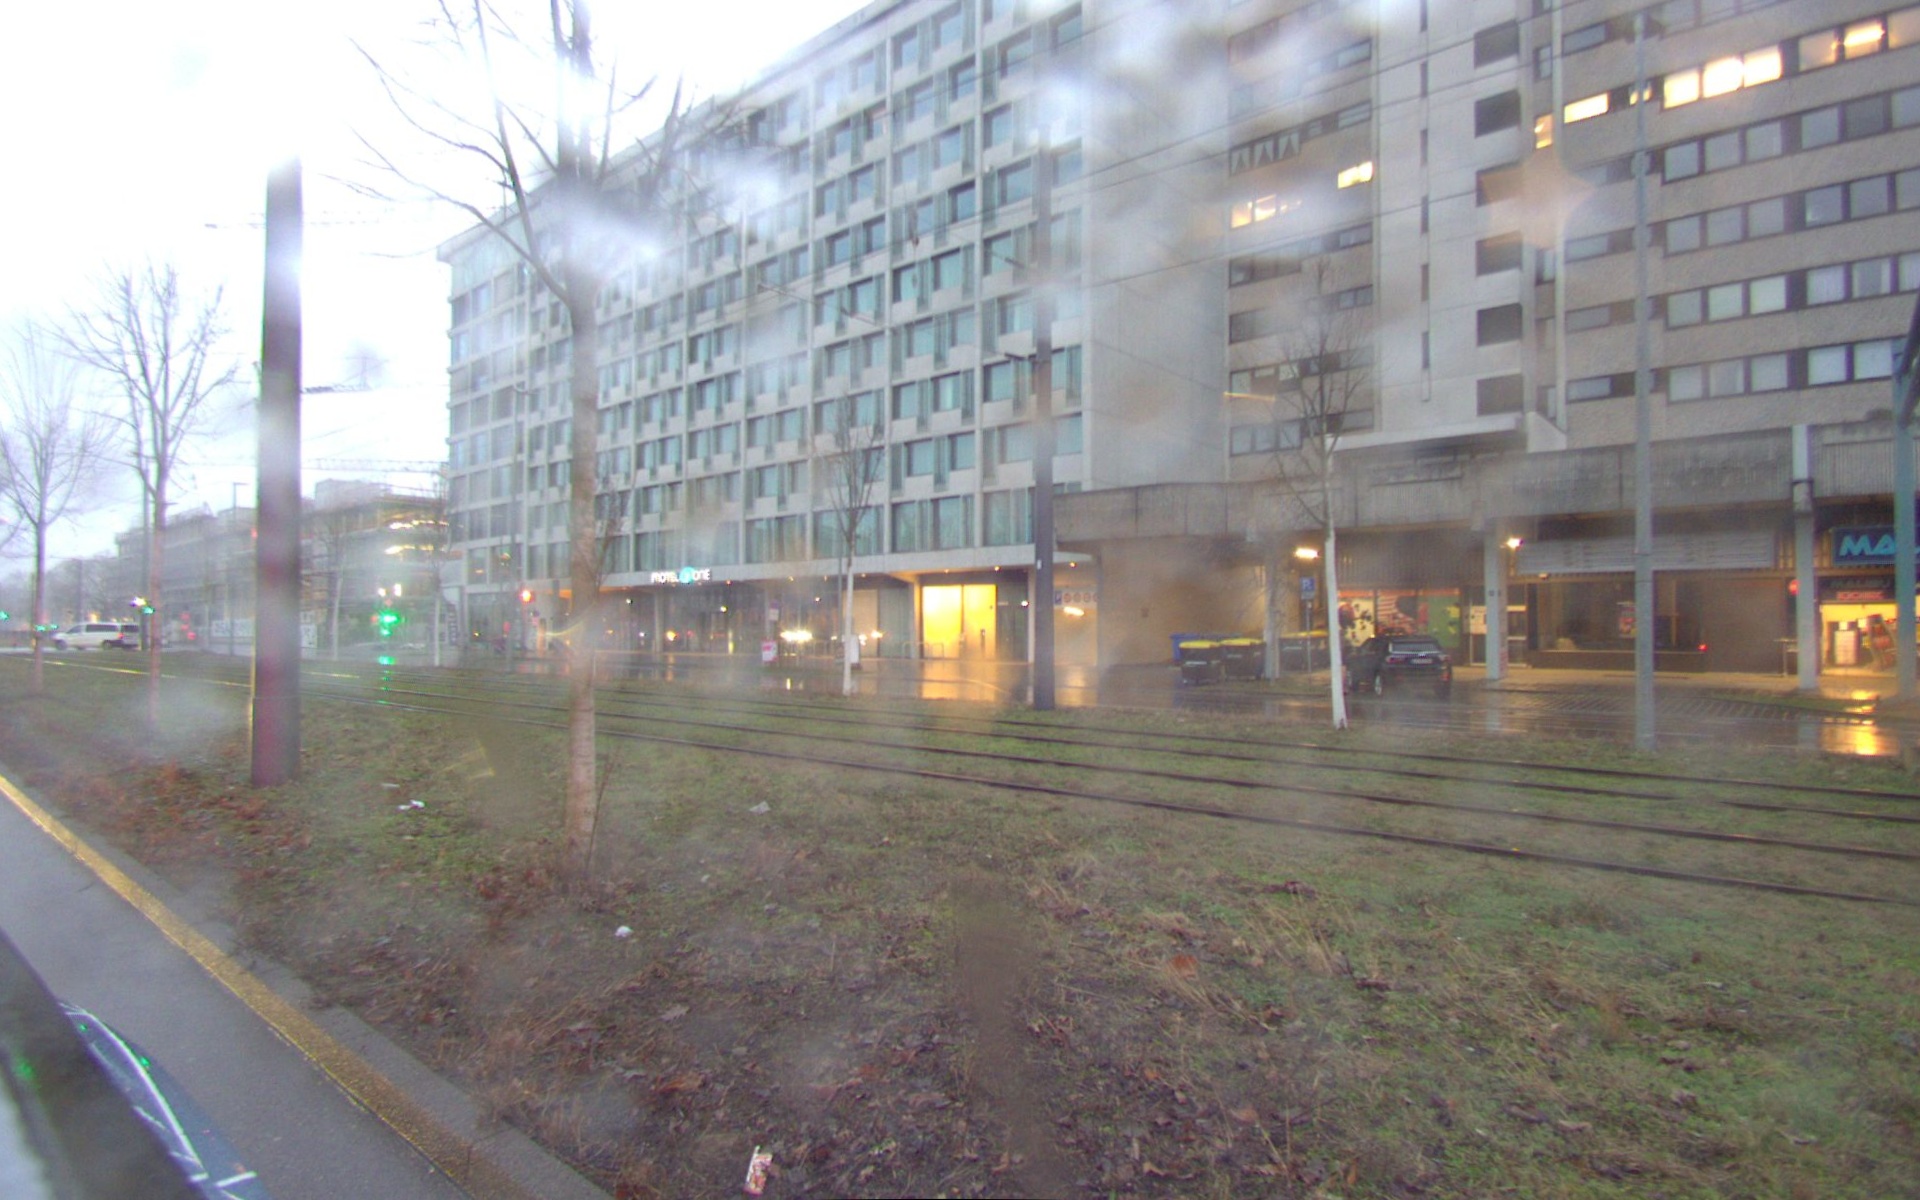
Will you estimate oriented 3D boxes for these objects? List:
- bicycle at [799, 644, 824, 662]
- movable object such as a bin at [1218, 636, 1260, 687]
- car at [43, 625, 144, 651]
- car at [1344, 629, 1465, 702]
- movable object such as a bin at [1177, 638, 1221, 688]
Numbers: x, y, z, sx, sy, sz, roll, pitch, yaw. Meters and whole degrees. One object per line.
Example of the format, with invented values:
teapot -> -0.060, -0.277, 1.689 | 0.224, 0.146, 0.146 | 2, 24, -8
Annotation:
bicycle -> -7.817, 2.759, 53.174 | 0.465, 0.860, 1.332 | -1, 0, 39
movable object such as a bin -> 8.705, 1.890, 31.537 | 1.008, 1.512, 1.042 | -1, 0, 30
car -> -58.758, 2.576, 68.707 | 4.967, 1.682, 2.090 | 0, -2, -4
car -> 11.984, 1.707, 27.574 | 1.962, 1.706, 4.131 | -1, 0, 9
movable object such as a bin -> 7.351, 1.918, 31.084 | 1.027, 1.437, 1.063 | -1, 0, 30
